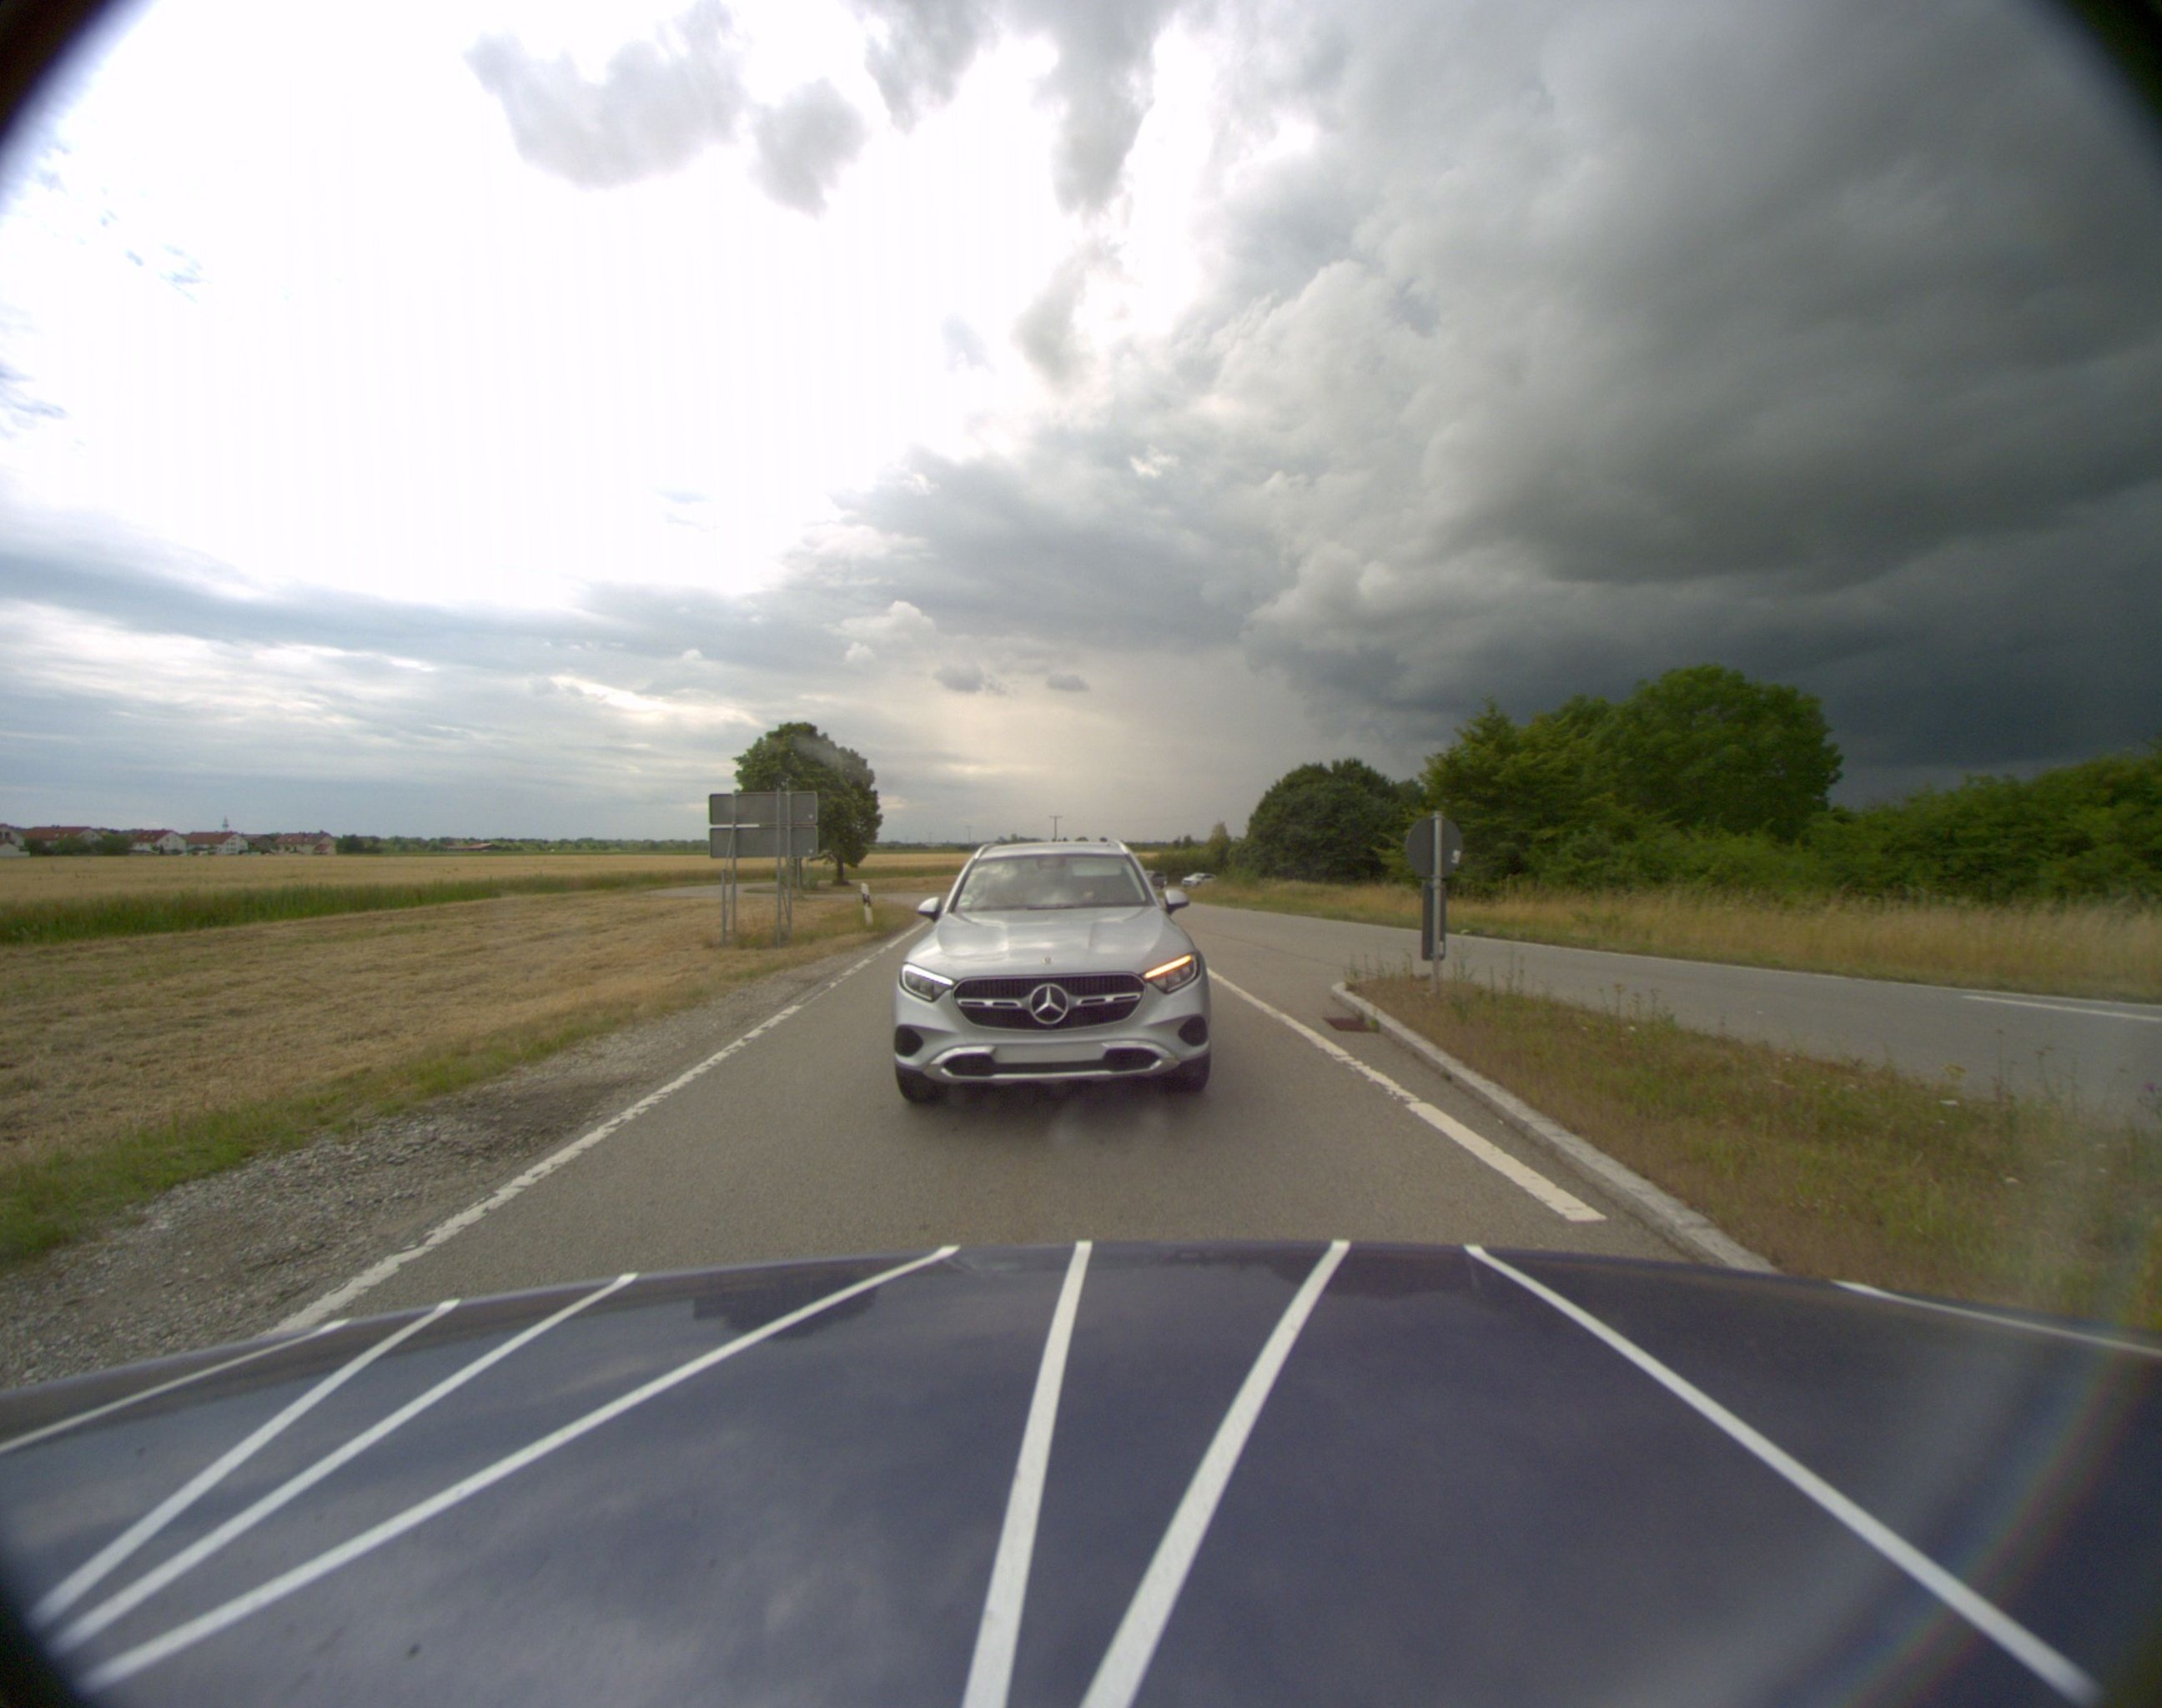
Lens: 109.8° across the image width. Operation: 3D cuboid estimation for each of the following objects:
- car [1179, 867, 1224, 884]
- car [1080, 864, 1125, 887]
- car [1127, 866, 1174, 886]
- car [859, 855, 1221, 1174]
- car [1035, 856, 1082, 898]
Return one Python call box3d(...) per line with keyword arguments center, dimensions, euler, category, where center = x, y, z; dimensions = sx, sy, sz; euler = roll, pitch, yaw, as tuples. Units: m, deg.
box3d(center=(12.831, 2.254, 80.769), dimensions=(5.220, 1.710, 1.994), euler=(0, 2, -45), category="car")
box3d(center=(1.843, 1.798, 62.511), dimensions=(1.995, 1.709, 5.218), euler=(3, 0, 21), category="car")
box3d(center=(6.748, 2.114, 73.338), dimensions=(1.994, 1.709, 5.222), euler=(3, -1, 37), category="car")
box3d(center=(-0.299, 0.816, 6.100), dimensions=(1.837, 1.577, 4.448), euler=(0, 1, -3), category="car")
box3d(center=(-0.968, 0.990, 34.641), dimensions=(1.999, 1.709, 5.208), euler=(0, 0, 0), category="car")
